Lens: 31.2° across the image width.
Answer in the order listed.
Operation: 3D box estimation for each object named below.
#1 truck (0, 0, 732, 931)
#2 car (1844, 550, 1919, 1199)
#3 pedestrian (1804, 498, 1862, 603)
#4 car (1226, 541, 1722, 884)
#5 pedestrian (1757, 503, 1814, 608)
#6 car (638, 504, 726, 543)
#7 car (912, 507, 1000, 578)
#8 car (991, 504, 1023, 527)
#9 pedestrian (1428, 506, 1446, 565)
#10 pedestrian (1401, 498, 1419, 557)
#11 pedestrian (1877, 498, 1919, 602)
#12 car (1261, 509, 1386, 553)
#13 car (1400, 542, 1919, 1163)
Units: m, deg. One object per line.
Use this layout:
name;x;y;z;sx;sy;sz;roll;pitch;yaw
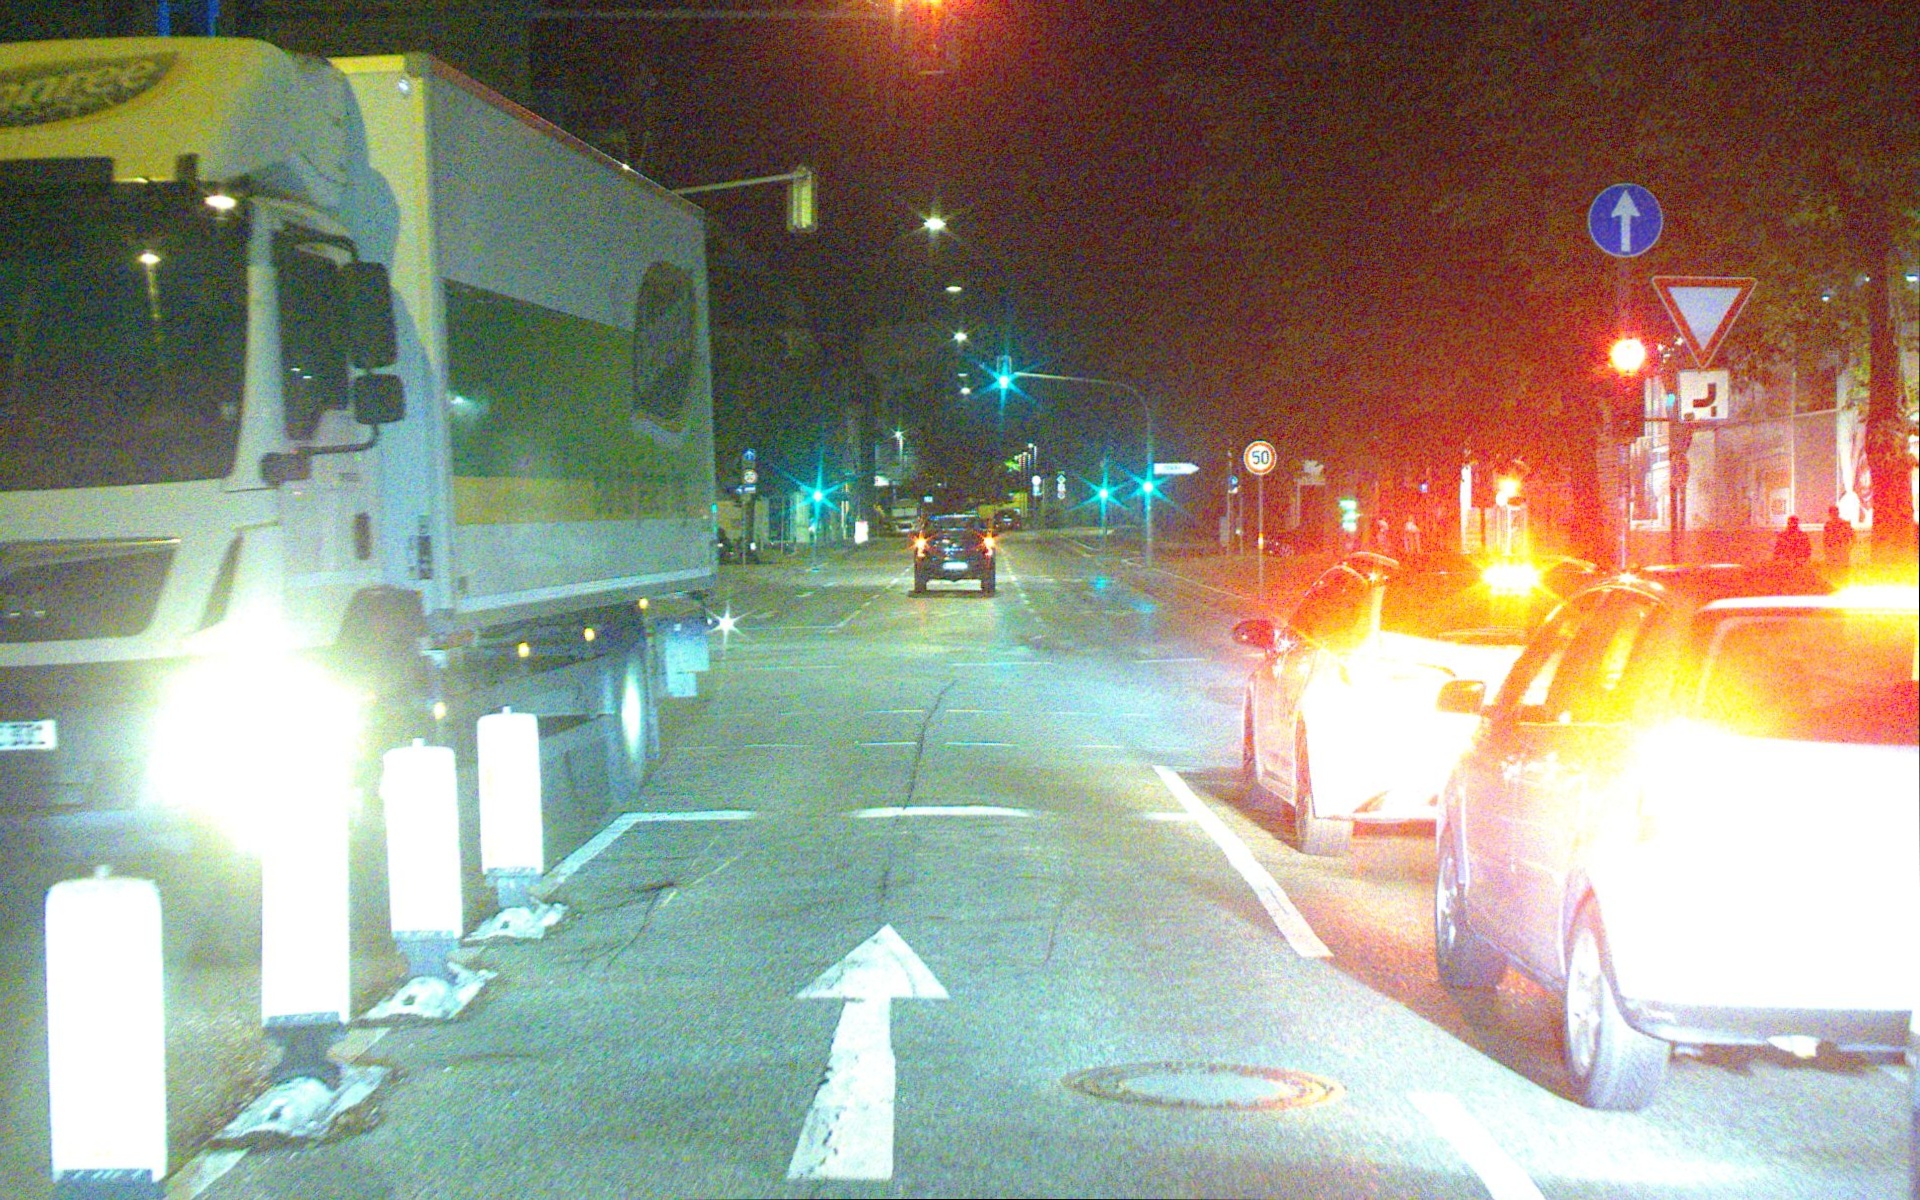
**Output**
truck;-3.313;-0.776;17.359;2.755;3.705;10.112;-1;1;5
car;2.546;0.724;4.096;1.805;1.489;4.730;2;1;1
pedestrian;14.902;-0.855;58.694;0.738;1.763;0.907;-1;1;0
car;2.409;0.456;17.113;1.729;1.430;4.211;1;1;-1
pedestrian;14.052;-0.765;58.533;0.714;1.763;0.907;-1;1;0
car;-10.902;-2.983;134.597;1.803;1.481;4.000;-2;2;-31
car;-0.122;-1.365;81.461;1.993;1.634;4.000;0;1;-1
car;3.263;-5.876;240.079;1.993;1.590;4.001;-1;1;-2
pedestrian;16.381;-2.222;118.068;0.487;2.007;0.551;-1;1;0
pedestrian;15.358;-2.478;117.310;0.531;2.007;0.670;-1;1;0
pedestrian;16.222;-0.862;58.650;0.901;1.763;0.907;-1;1;0
car;11.906;-2.268;112.852;3.987;1.381;1.771;-1;1;3
car;2.436;0.599;10.458;1.637;1.489;4.000;1;1;0
